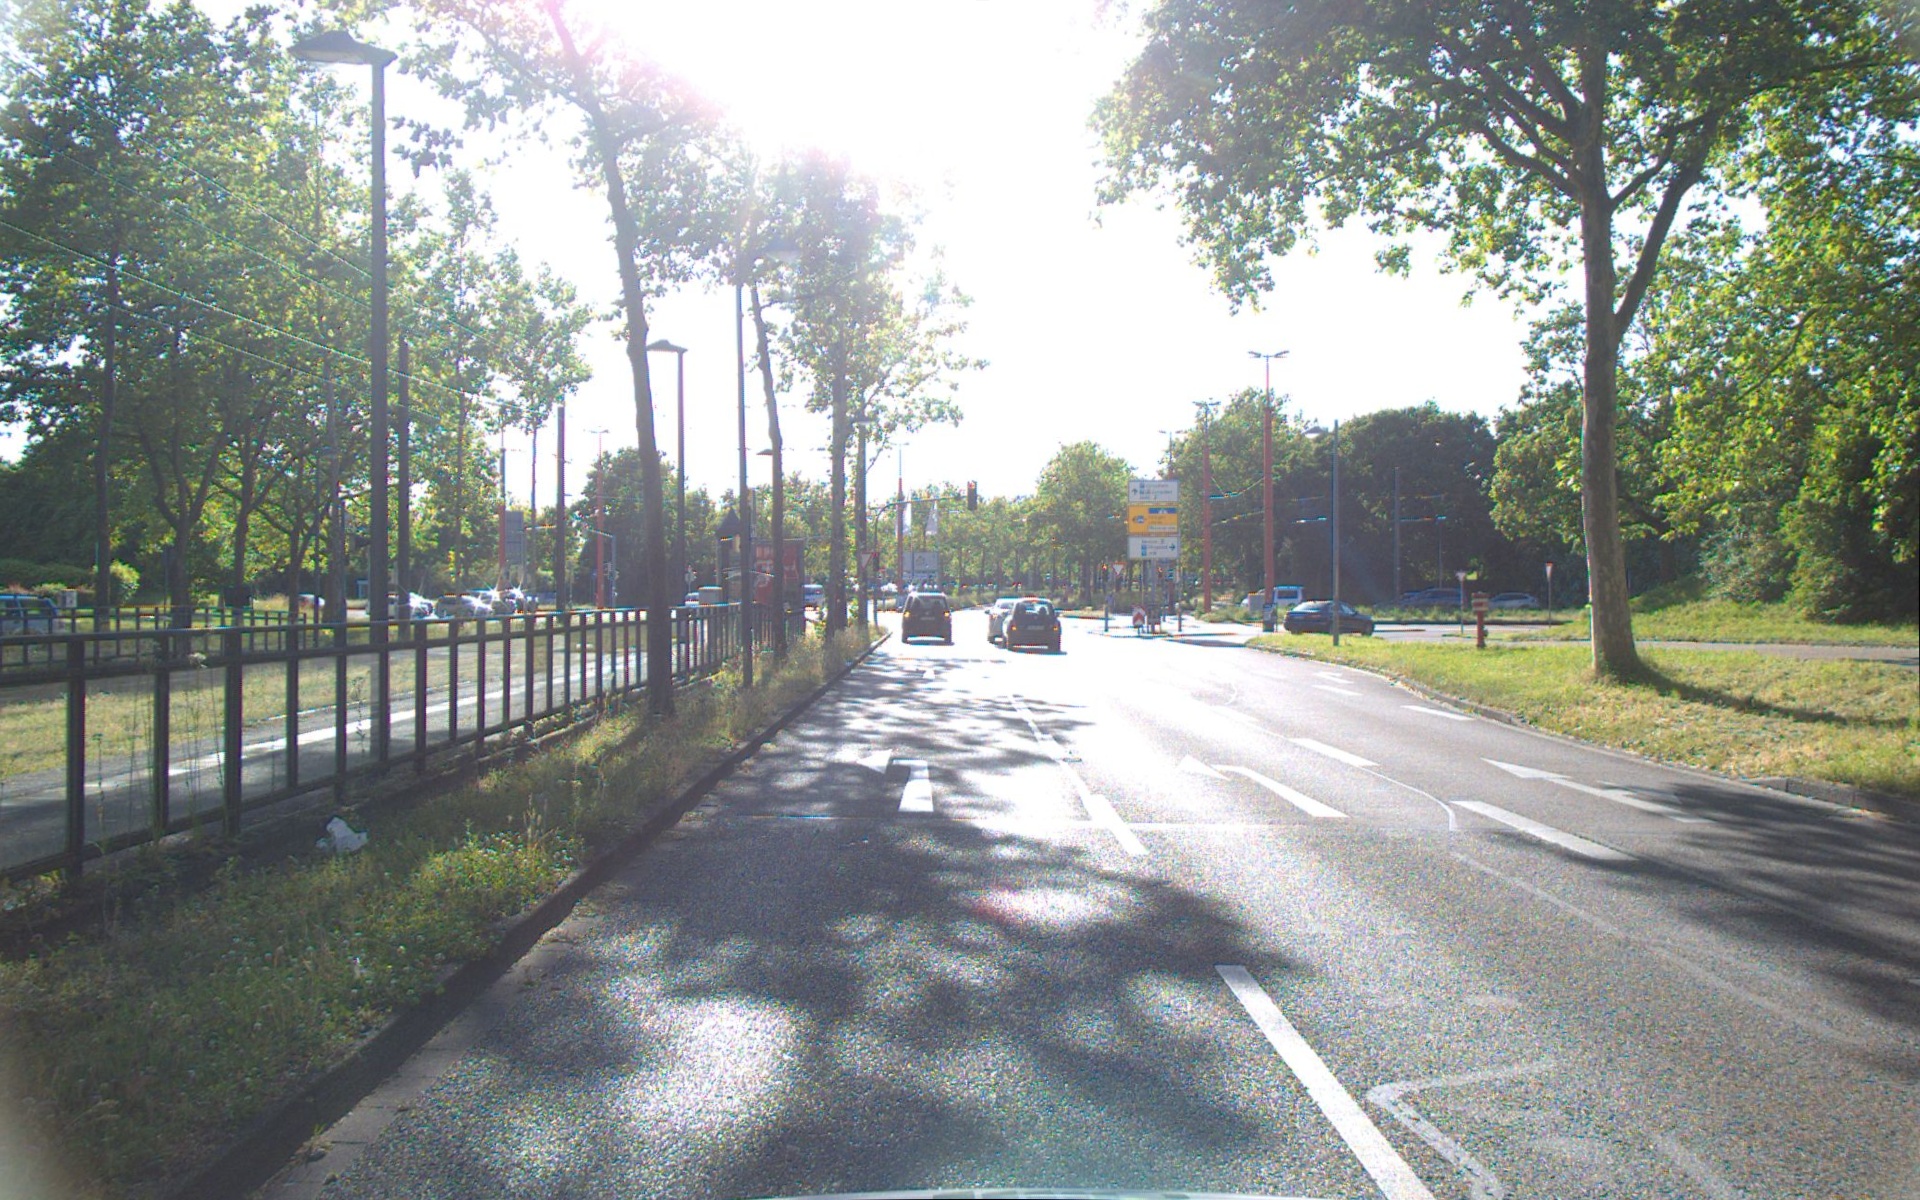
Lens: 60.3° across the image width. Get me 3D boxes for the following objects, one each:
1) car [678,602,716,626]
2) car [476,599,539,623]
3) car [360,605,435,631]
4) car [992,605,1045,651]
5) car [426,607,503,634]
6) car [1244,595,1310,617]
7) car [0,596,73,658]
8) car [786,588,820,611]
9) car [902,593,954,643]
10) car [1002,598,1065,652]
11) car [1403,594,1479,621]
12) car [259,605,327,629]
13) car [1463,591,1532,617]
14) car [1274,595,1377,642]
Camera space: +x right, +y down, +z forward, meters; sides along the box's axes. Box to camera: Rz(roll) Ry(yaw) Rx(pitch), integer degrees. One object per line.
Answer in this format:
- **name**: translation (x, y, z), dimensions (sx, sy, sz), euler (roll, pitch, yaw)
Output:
- **car**: translation (-16.899, 0.899, 106.466), dimensions (1.597, 1.475, 3.720), euler (1, 0, 4)
- **car**: translation (-32.048, 0.770, 117.103), dimensions (3.903, 1.649, 1.901), euler (0, 0, 18)
- **car**: translation (-37.192, 1.165, 109.424), dimensions (4.391, 1.639, 1.901), euler (-1, 0, 18)
- **car**: translation (1.986, 0.937, 57.007), dimensions (1.644, 1.501, 4.130), euler (1, 0, 0)
- **car**: translation (-32.075, 1.309, 107.108), dimensions (4.391, 1.639, 1.902), euler (-1, 2, 18)
- **car**: translation (20.408, 0.375, 106.549), dimensions (3.908, 1.361, 1.728), euler (1, 0, 25)
- **car**: translation (-24.191, 0.648, 40.667), dimensions (3.891, 1.502, 1.605), euler (1, -1, -44)
- **car**: translation (-13.025, -0.048, 137.282), dimensions (1.784, 1.811, 4.570), euler (1, 0, 7)
- **car**: translation (-1.114, 0.600, 56.436), dimensions (1.676, 1.631, 3.348), euler (0, 0, -2)
- **car**: translation (2.212, 0.734, 50.361), dimensions (1.606, 1.520, 3.502), euler (1, 1, -2)
- **car**: translation (29.644, 0.457, 101.960), dimensions (4.264, 1.586, 1.871), euler (1, 0, 24)
- **car**: translation (-44.886, 1.156, 111.336), dimensions (3.949, 1.461, 1.817), euler (-1, 2, 18)
- **car**: translation (33.599, 0.241, 103.437), dimensions (3.908, 1.521, 1.860), euler (1, 0, 25)
- **car**: translation (15.205, 0.774, 68.699), dimensions (4.577, 1.823, 1.957), euler (2, -1, -44)
